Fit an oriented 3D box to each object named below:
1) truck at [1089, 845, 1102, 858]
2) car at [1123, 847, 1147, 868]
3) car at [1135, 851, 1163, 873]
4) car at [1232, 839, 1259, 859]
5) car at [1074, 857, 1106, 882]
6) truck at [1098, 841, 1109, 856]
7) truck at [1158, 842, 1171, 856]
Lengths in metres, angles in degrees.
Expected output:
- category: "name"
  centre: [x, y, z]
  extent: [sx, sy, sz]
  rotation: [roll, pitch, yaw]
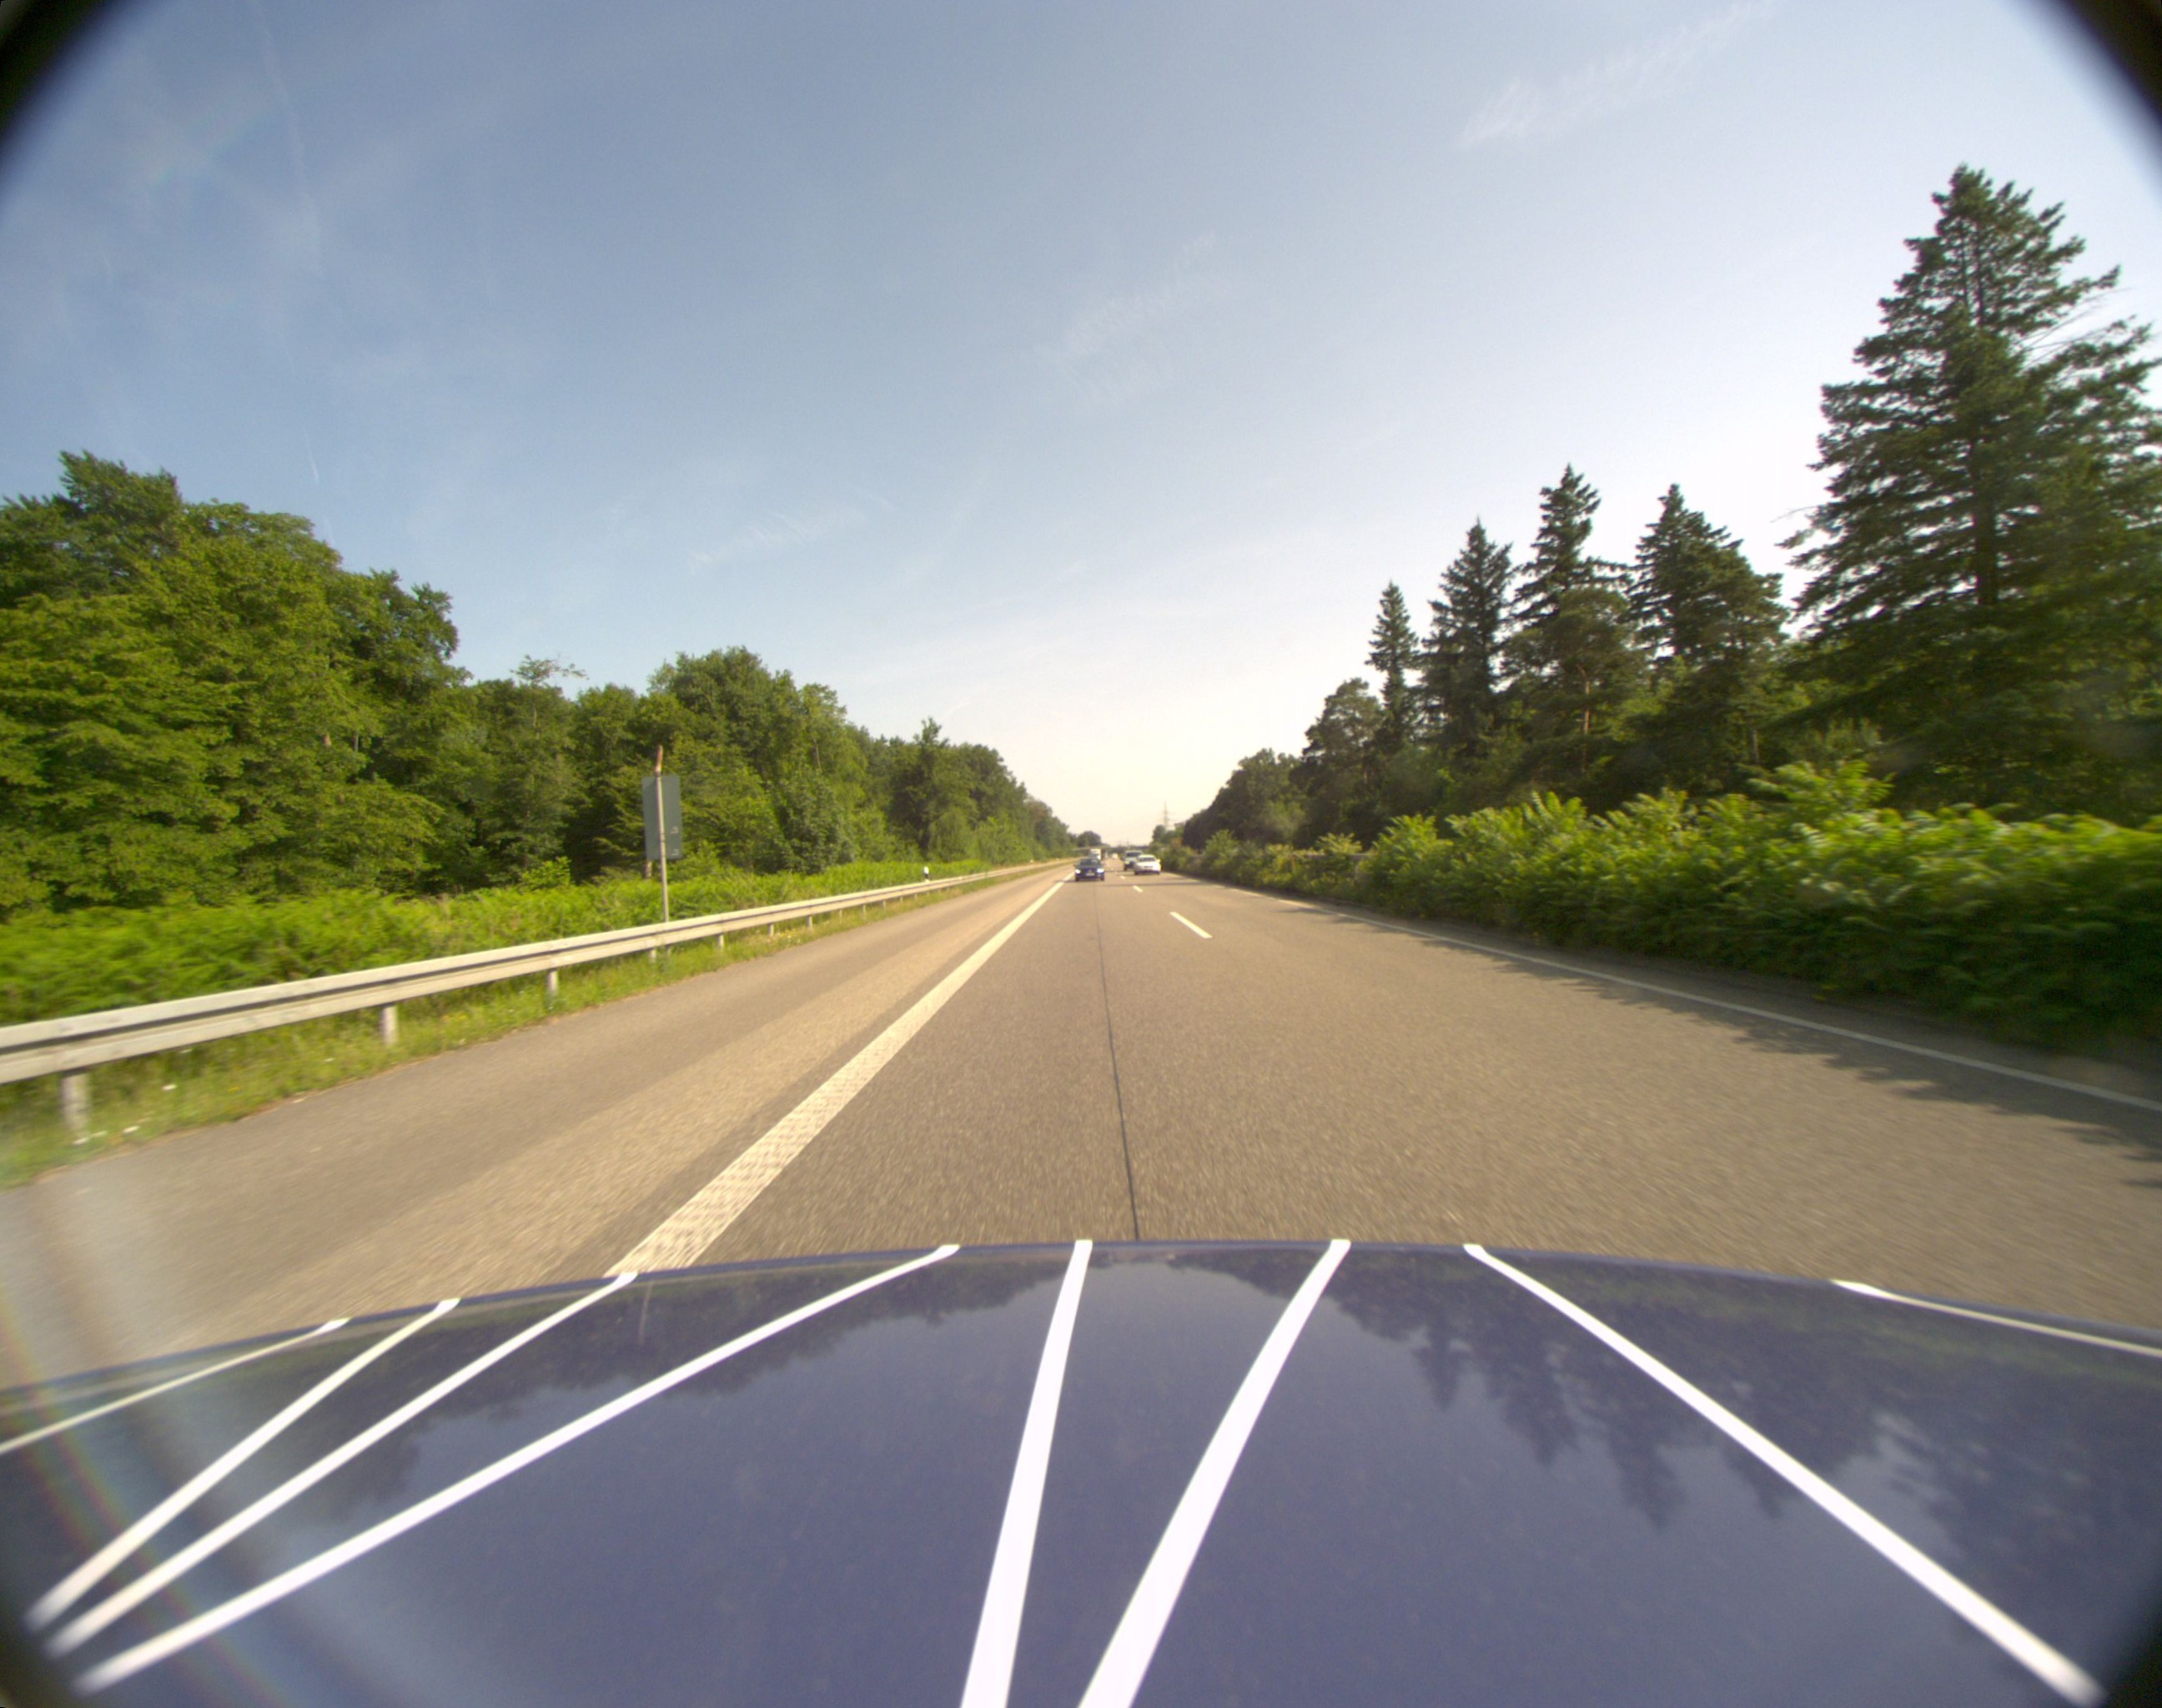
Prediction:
- category: "truck"
  centre: [3.427, -0.614, 177.245]
  extent: [2.695, 3.020, 10.370]
  rotation: [-2, 0, 0]
- category: "car"
  centre: [5.263, 0.361, 74.764]
  extent: [1.912, 1.934, 4.705]
  rotation: [-2, 0, -1]
- category: "car"
  centre: [5.051, 0.584, 57.237]
  extent: [1.754, 1.477, 5.264]
  rotation: [-2, 0, 2]
- category: "car"
  centre: [17.229, -0.536, 79.707]
  extent: [1.820, 2.002, 4.493]
  rotation: [-2, 1, 1]
- category: "car"
  centre: [0.530, 0.874, 44.110]
  extent: [1.789, 1.285, 3.538]
  rotation: [-2, 0, 1]
- category: "truck"
  centre: [6.733, -1.653, 231.210]
  extent: [2.695, 4.062, 12.363]
  rotation: [-2, 0, 0]
- category: "truck"
  centre: [20.163, -1.252, 184.084]
  extent: [2.468, 3.158, 7.227]
  rotation: [-1, 0, 1]
